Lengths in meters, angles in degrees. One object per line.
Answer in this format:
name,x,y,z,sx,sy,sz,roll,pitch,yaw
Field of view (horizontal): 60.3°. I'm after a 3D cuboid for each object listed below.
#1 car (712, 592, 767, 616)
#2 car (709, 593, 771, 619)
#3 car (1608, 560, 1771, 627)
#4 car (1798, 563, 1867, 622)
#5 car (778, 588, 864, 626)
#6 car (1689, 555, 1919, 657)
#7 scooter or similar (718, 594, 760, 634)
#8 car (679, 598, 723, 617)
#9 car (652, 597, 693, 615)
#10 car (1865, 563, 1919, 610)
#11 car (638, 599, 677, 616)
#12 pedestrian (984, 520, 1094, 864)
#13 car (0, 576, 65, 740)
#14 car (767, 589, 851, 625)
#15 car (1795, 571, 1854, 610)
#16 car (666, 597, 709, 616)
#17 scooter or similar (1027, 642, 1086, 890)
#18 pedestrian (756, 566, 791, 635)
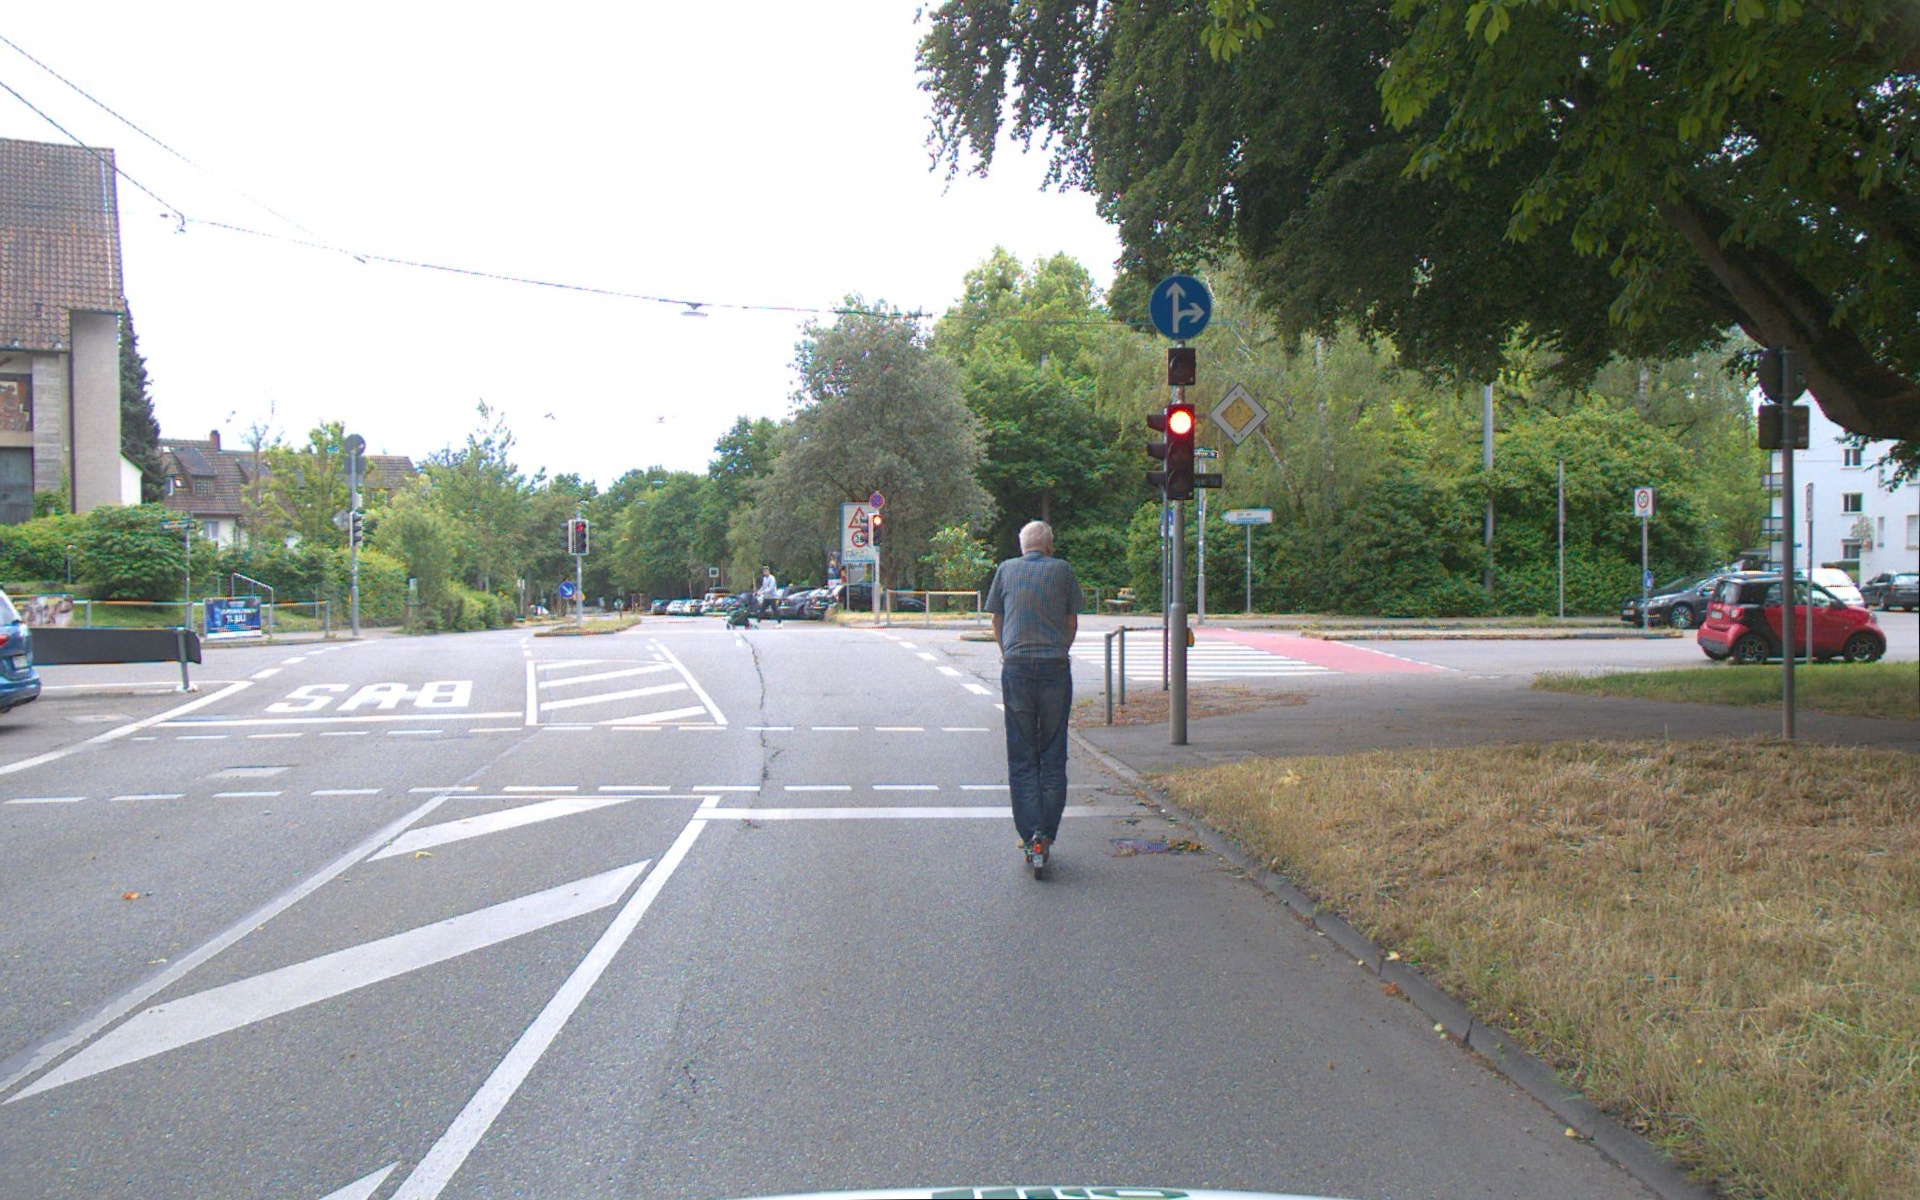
car,-16.619,0.320,124.623,3.791,1.639,1.715,-2,1,-24
car,-14.845,0.398,111.697,3.791,1.639,1.715,-2,1,-24
car,18.719,-0.173,42.547,3.444,1.557,1.729,-2,1,5
car,25.911,-0.241,49.195,1.689,1.639,3.850,-2,1,26
car,-6.704,0.333,79.731,3.793,1.639,1.714,-2,1,-25
car,14.944,0.093,29.109,3.444,1.639,1.729,-2,1,4
scooter or similar,-6.162,0.390,46.082,1.089,1.100,0.575,-1,0,-15
car,-24.532,0.715,156.604,3.791,1.639,1.715,-2,1,-24
car,-29.269,0.600,168.259,3.791,1.639,1.715,-2,1,-24
car,35.227,-0.523,61.905,1.686,1.639,3.856,-2,1,19
car,-32.590,0.832,177.969,3.791,1.639,1.715,-2,1,-24
pedestrian,0.443,0.495,9.114,0.560,1.845,0.420,-1,0,5
car,-11.563,0.643,16.868,3.923,1.639,1.810,-2,1,-17
car,-7.520,0.327,82.252,3.791,1.639,1.715,-2,1,-24
car,38.361,-0.448,73.483,1.686,1.639,3.856,-2,1,19
car,-26.566,0.641,161.258,3.791,1.639,1.715,-2,1,-24
scooter or similar,0.510,0.848,8.873,0.276,1.199,1.177,-1,0,2
pedestrian,-5.229,0.010,46.359,0.868,1.895,0.573,-1,0,-12
